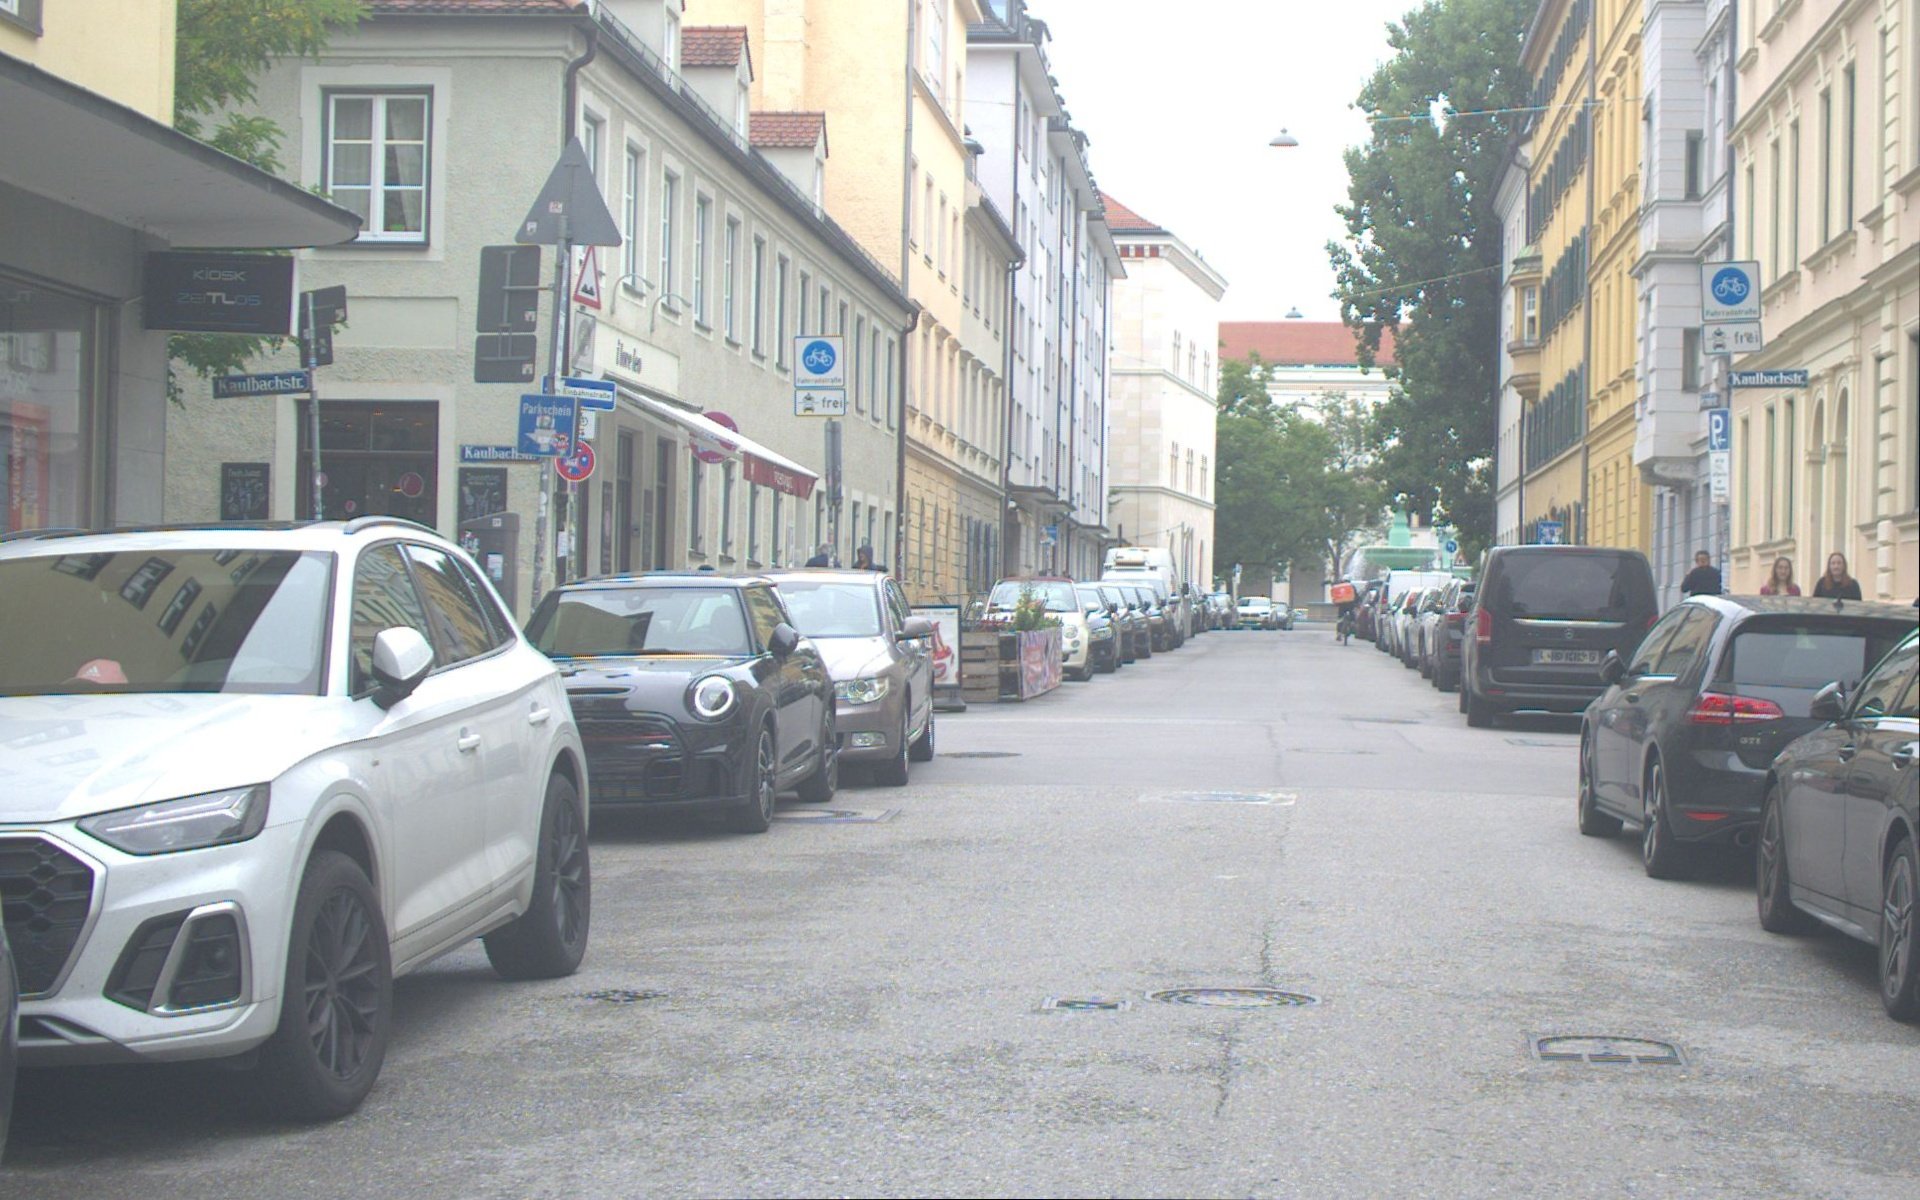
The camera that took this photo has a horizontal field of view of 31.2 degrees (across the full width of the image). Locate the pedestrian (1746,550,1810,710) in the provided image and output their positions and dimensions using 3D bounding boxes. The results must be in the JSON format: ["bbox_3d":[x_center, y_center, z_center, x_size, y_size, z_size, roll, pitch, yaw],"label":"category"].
[{"bbox_3d":[8.461,0.319,35.583,0.472,1.619,1.069,1,-1,5],"label":"pedestrian"}]

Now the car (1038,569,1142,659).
[{"bbox_3d":[2.347,0.237,61.263,1.755,1.491,4.200,2,0,3],"label":"car"}]

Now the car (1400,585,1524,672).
[{"bbox_3d":[8.616,0.471,59.248,1.708,1.400,4.207,2,0,3],"label":"car"}]

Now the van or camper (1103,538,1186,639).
[{"bbox_3d":[4.425,-0.257,81.723,1.755,2.273,5.272,2,0,5],"label":"van or camper"}]

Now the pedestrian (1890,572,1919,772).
[{"bbox_3d":[8.596,0.634,30.011,0.719,1.711,1.003,1,-1,5],"label":"pedestrian"}]

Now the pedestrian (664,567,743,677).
[{"bbox_3d":[-3.066,0.267,41.098,0.803,1.285,0.693,1,-1,6],"label":"pedestrian"}]

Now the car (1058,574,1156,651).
[{"bbox_3d":[2.819,0.216,66.378,1.816,1.437,4.131,0,0,2],"label":"car"}]

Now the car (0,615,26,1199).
[{"bbox_3d":[-3.008,0.756,5.182,1.746,1.406,4.097,0,1,6],"label":"car"}]

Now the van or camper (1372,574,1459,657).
[{"bbox_3d":[10.736,0.355,81.272,1.834,1.865,5.077,2,0,6],"label":"van or camper"}]

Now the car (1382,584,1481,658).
[{"bbox_3d":[9.792,0.421,71.587,1.708,1.449,4.096,2,0,4],"label":"car"}]

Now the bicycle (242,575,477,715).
[{"bbox_3d":[-4.929,0.360,28.229,1.819,1.031,0.392,3,1,9],"label":"bicycle"}]

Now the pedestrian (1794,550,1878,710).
[{"bbox_3d":[9.048,0.317,35.535,0.659,1.615,0.979,1,-1,5],"label":"pedestrian"}]

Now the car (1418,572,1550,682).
[{"bbox_3d":[8.026,0.406,52.951,1.743,1.578,4.465,2,0,6],"label":"car"}]

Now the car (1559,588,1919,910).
[{"bbox_3d":[4.357,0.716,18.533,1.675,1.420,4.203,4,1,3],"label":"car"}]

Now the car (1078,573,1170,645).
[{"bbox_3d":[3.431,0.181,71.424,1.755,1.404,4.102,2,0,4],"label":"car"}]

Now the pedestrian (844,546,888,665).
[{"bbox_3d":[-1.426,0.092,52.210,0.528,1.776,0.877,1,-1,6],"label":"pedestrian"}]

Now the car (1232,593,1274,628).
[{"bbox_3d":[13.436,0.482,157.431,1.707,1.576,3.861,0,0,8],"label":"car"}]

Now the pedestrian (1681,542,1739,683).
[{"bbox_3d":[10.656,0.187,48.852,0.669,1.974,0.708,-2,-2,6],"label":"pedestrian"}]

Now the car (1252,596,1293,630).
[{"bbox_3d":[14.878,0.626,163.444,1.707,1.576,3.861,0,0,8],"label":"car"}]

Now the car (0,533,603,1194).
[{"bbox_3d":[-2.426,0.597,10.567,1.803,1.578,4.337,0,1,6],"label":"car"}]

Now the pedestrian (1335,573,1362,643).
[{"bbox_3d":[9.712,0.203,85.924,0.642,1.708,0.842,1,-1,6],"label":"pedestrian"}]

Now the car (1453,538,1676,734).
[{"bbox_3d":[6.312,0.346,36.421,1.998,1.858,5.251,2,0,7],"label":"car"}]

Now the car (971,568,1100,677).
[{"bbox_3d":[1.139,0.308,50.399,1.755,1.470,3.713,2,0,3],"label":"car"}]

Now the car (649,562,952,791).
[{"bbox_3d":[-1.034,0.474,24.600,1.679,1.466,4.950,0,0,3],"label":"car"}]

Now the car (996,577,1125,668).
[{"bbox_3d":[1.664,0.327,55.405,1.798,1.335,4.685,2,1,5],"label":"car"}]

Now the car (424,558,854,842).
[{"bbox_3d":[-1.741,0.503,19.953,1.679,1.466,4.096,0,0,6],"label":"car"}]

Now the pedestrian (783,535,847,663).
[{"bbox_3d":[-2.175,-0.007,51.762,0.822,1.891,0.827,1,-1,5],"label":"pedestrian"}]

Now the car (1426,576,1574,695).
[{"bbox_3d":[7.419,0.474,47.508,1.755,1.516,4.273,2,0,6],"label":"car"}]

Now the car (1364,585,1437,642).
[{"bbox_3d":[12.202,0.367,95.416,1.812,1.460,4.246,3,0,5],"label":"car"}]

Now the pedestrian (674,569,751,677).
[{"bbox_3d":[-3.005,0.281,41.819,0.803,1.286,0.693,1,-1,6],"label":"pedestrian"}]

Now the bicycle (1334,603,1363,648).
[{"bbox_3d":[9.704,0.647,85.872,0.675,1.091,1.759,1,-1,6],"label":"bicycle"}]

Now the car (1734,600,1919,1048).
[{"bbox_3d":[4.142,0.790,12.980,1.646,1.420,4.509,4,1,4],"label":"car"}]
